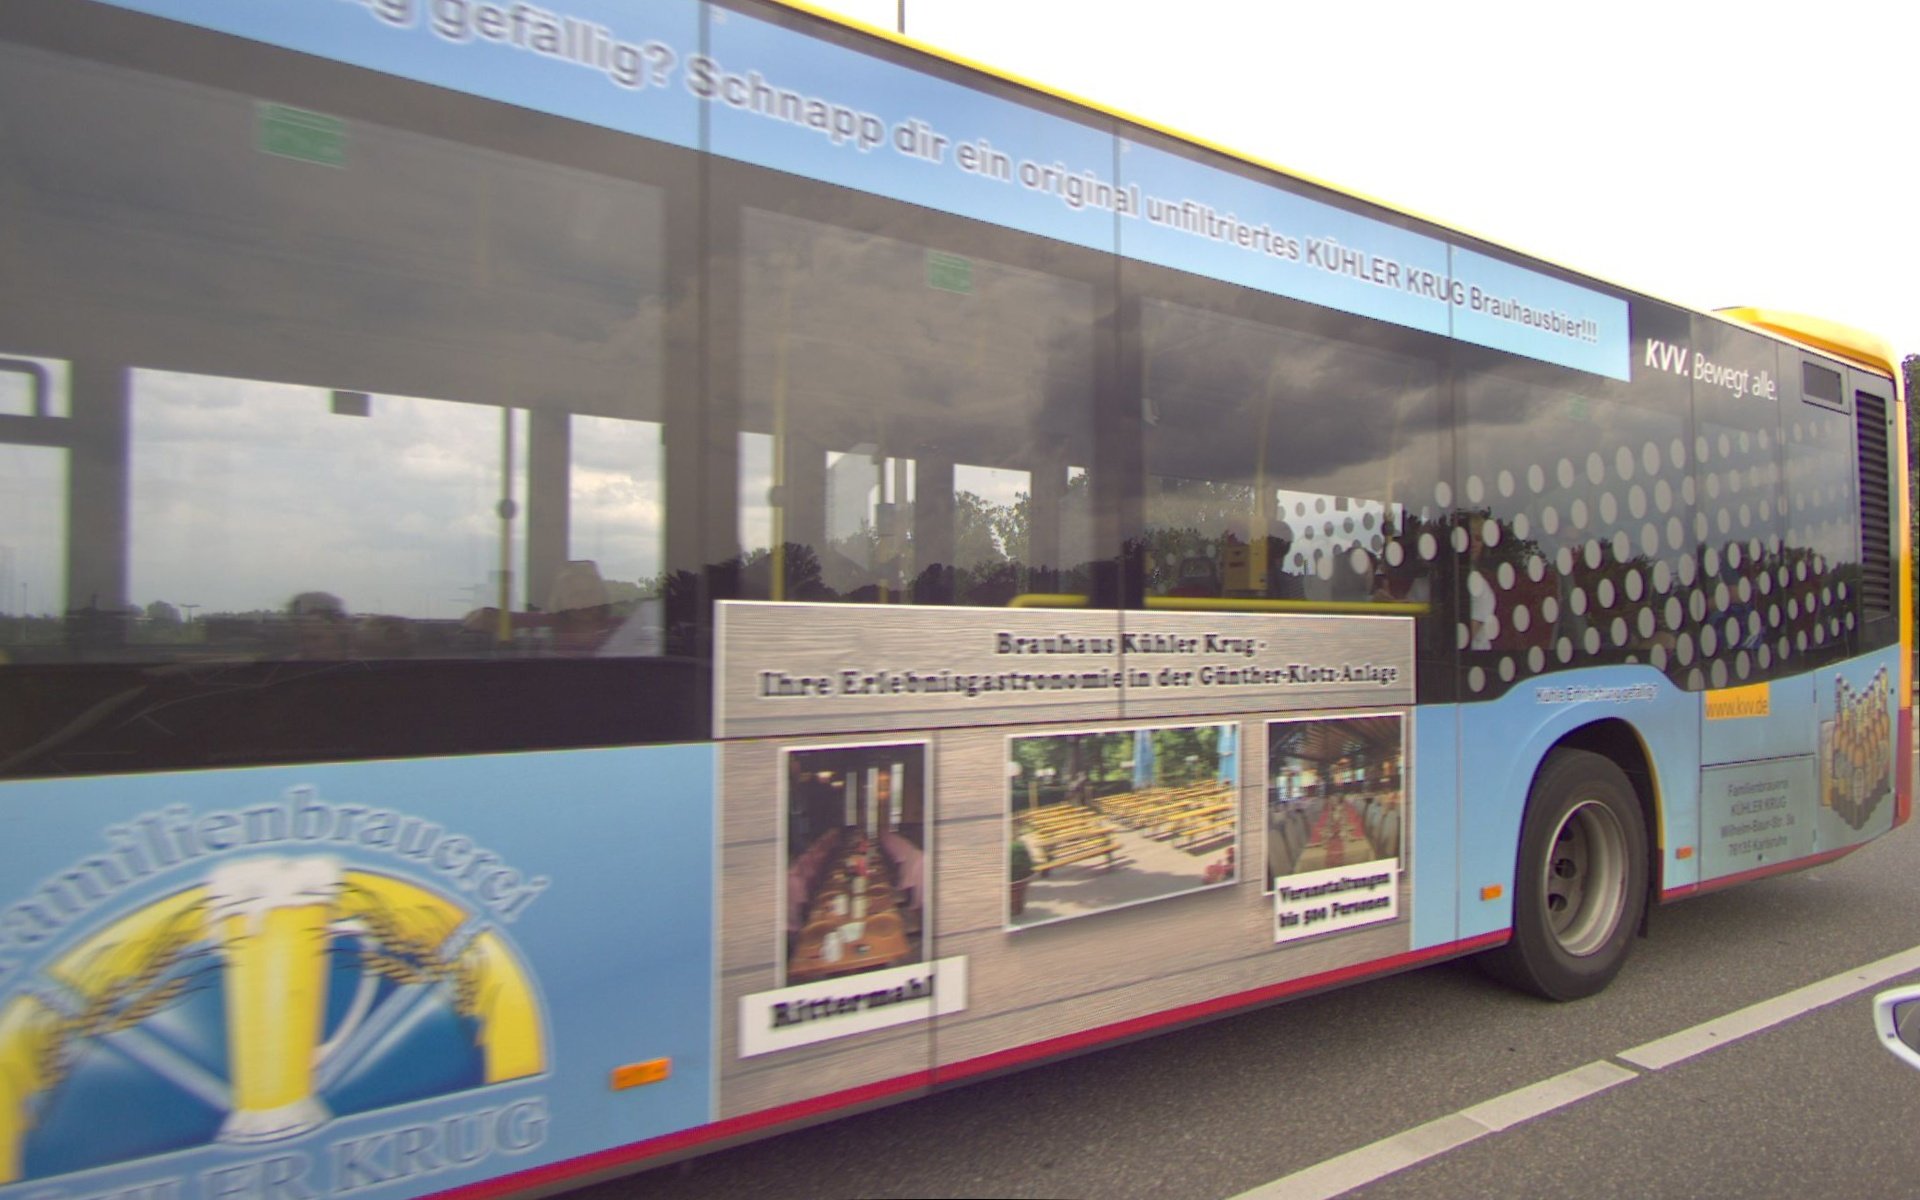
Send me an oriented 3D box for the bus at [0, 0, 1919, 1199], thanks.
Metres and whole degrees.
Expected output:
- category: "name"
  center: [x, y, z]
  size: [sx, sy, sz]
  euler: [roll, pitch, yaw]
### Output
- category: "bus"
  center: [0.215, -0.247, 4.187]
  size: [12.796, 3.276, 3.018]
  euler: [2, -1, -30]
